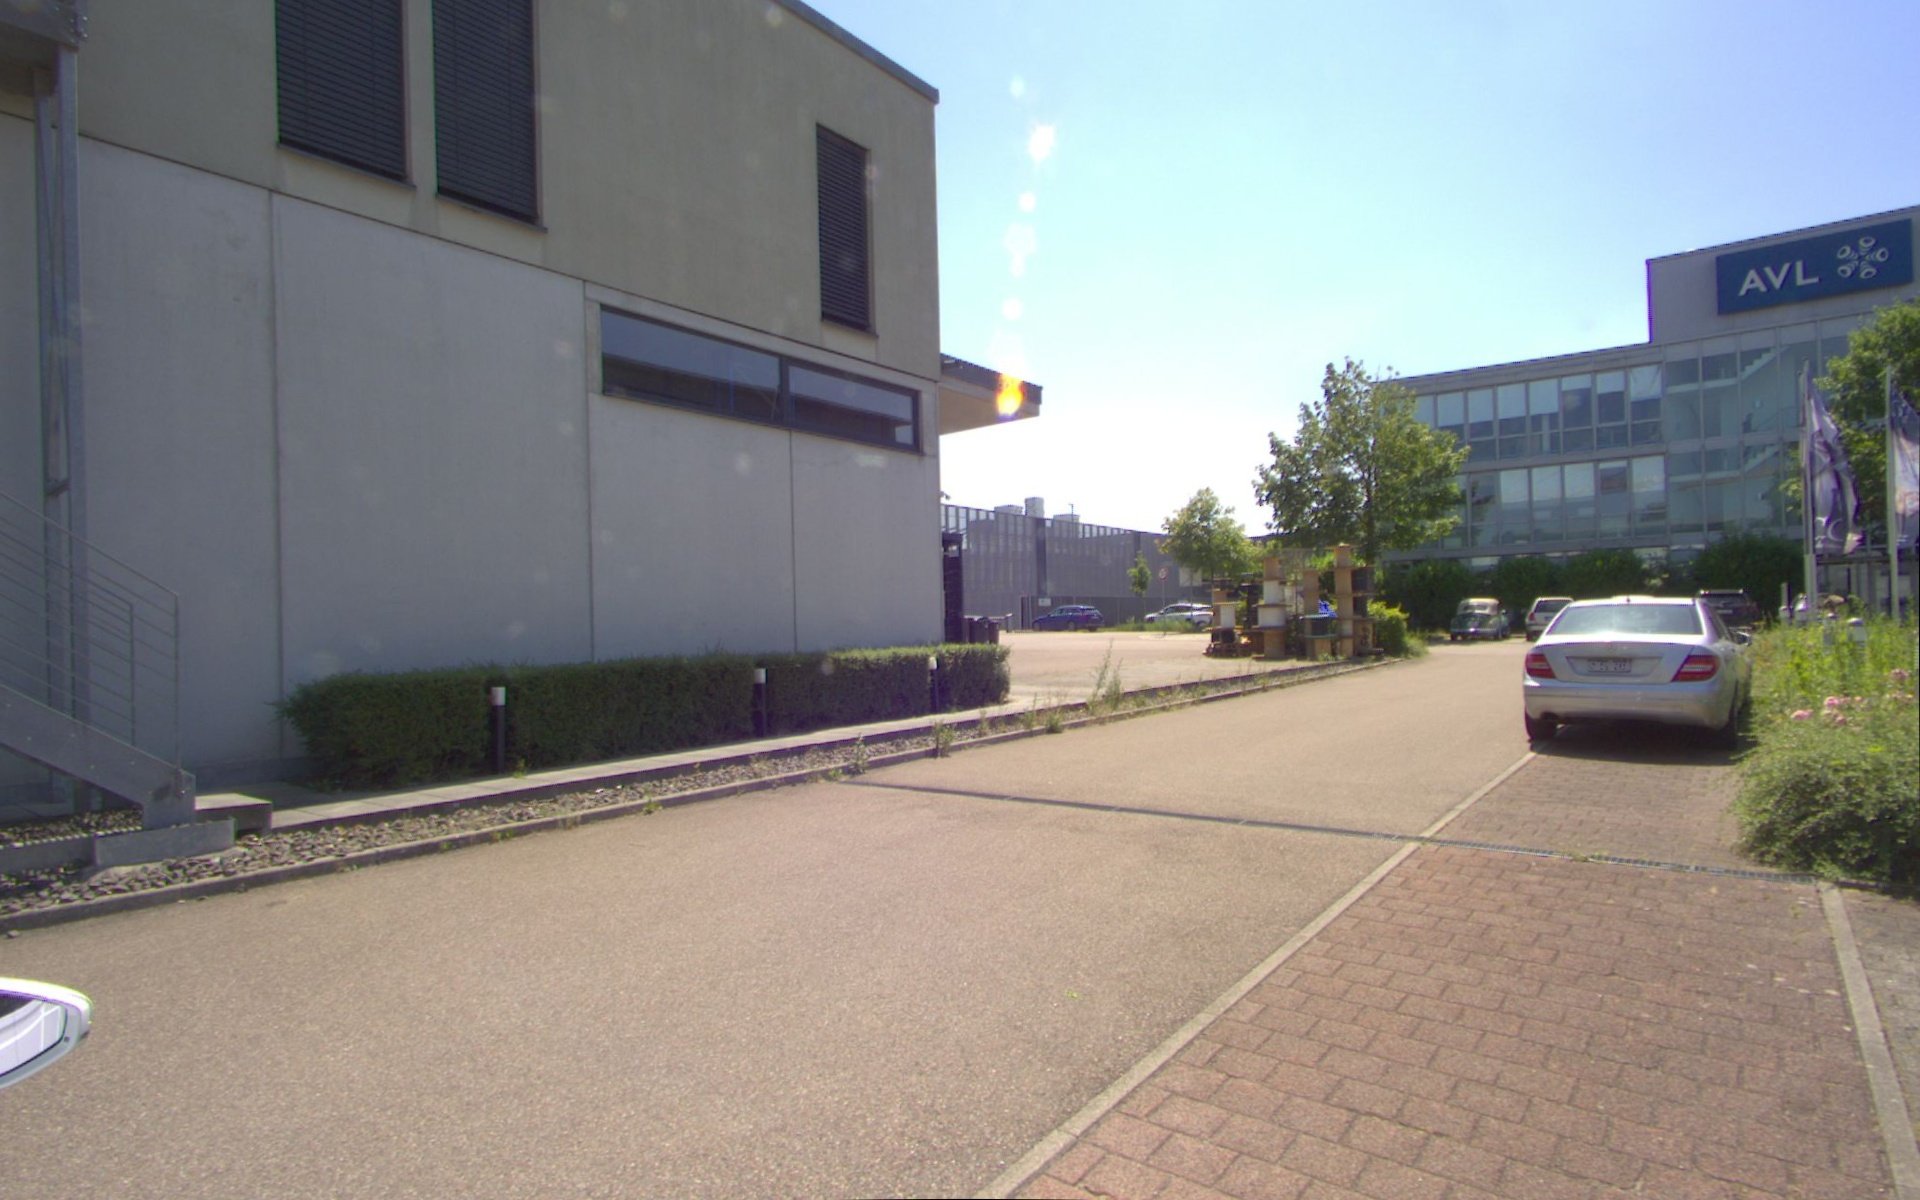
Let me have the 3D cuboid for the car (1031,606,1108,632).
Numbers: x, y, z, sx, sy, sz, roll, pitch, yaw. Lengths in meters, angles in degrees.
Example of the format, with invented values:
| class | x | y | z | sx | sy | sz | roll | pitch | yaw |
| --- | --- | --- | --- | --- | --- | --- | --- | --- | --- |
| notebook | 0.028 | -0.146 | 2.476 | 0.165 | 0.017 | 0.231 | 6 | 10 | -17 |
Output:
| class | x | y | z | sx | sy | sz | roll | pitch | yaw |
| --- | --- | --- | --- | --- | --- | --- | --- | --- | --- |
| car | 6.099 | 1.090 | 56.264 | 1.729 | 1.433 | 4.415 | 1 | -2 | -37 |

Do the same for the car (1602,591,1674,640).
| class | x | y | z | sx | sy | sz | roll | pitch | yaw |
| --- | --- | --- | --- | --- | --- | --- | --- | --- | --- |
| car | 22.771 | 0.552 | 33.745 | 1.724 | 1.538 | 3.981 | -1 | -1 | 31 |

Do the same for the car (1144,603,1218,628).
| class | x | y | z | sx | sy | sz | roll | pitch | yaw |
| --- | --- | --- | --- | --- | --- | --- | --- | --- | --- |
| car | 13.711 | 0.987 | 62.206 | 1.730 | 1.433 | 4.413 | 1 | -2 | -39 |

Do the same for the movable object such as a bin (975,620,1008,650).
| class | x | y | z | sx | sy | sz | roll | pitch | yaw |
| --- | --- | --- | --- | --- | --- | --- | --- | --- | --- |
| movable object such as a bin | 1.069 | 1.179 | 34.098 | 0.807 | 0.993 | 0.805 | -1 | -1 | 38 |

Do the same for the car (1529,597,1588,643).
| class | x | y | z | sx | sy | sz | roll | pitch | yaw |
| --- | --- | --- | --- | --- | --- | --- | --- | --- | --- |
| car | 20.593 | 0.696 | 34.489 | 1.650 | 1.459 | 3.981 | -1 | -1 | 31 |

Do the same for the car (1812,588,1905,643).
| class | x | y | z | sx | sy | sz | roll | pitch | yaw |
| --- | --- | --- | --- | --- | --- | --- | --- | --- | --- |
| car | 26.687 | 0.482 | 29.848 | 1.728 | 1.538 | 3.973 | -1 | -1 | 37 |

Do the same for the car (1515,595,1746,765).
| class | x | y | z | sx | sy | sz | roll | pitch | yaw |
| --- | --- | --- | --- | --- | --- | --- | --- | --- | --- |
| car | 7.152 | 0.727 | 10.529 | 1.709 | 1.455 | 3.690 | -1 | -1 | 39 |

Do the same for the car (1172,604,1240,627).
| class | x | y | z | sx | sy | sz | roll | pitch | yaw |
| --- | --- | --- | --- | --- | --- | --- | --- | --- | --- |
| car | 15.682 | 1.030 | 64.094 | 1.730 | 1.433 | 4.034 | 1 | -2 | -39 |

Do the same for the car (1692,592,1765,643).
| class | x | y | z | sx | sy | sz | roll | pitch | yaw |
| --- | --- | --- | --- | --- | --- | --- | --- | --- | --- |
| car | 24.432 | 0.569 | 31.877 | 1.728 | 1.538 | 3.973 | -1 | -1 | 37 |

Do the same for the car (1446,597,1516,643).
| class | x | y | z | sx | sy | sz | roll | pitch | yaw |
| --- | --- | --- | --- | --- | --- | --- | --- | --- | --- |
| car | 18.727 | 0.719 | 35.923 | 1.726 | 1.538 | 3.976 | -1 | -1 | 35 |
